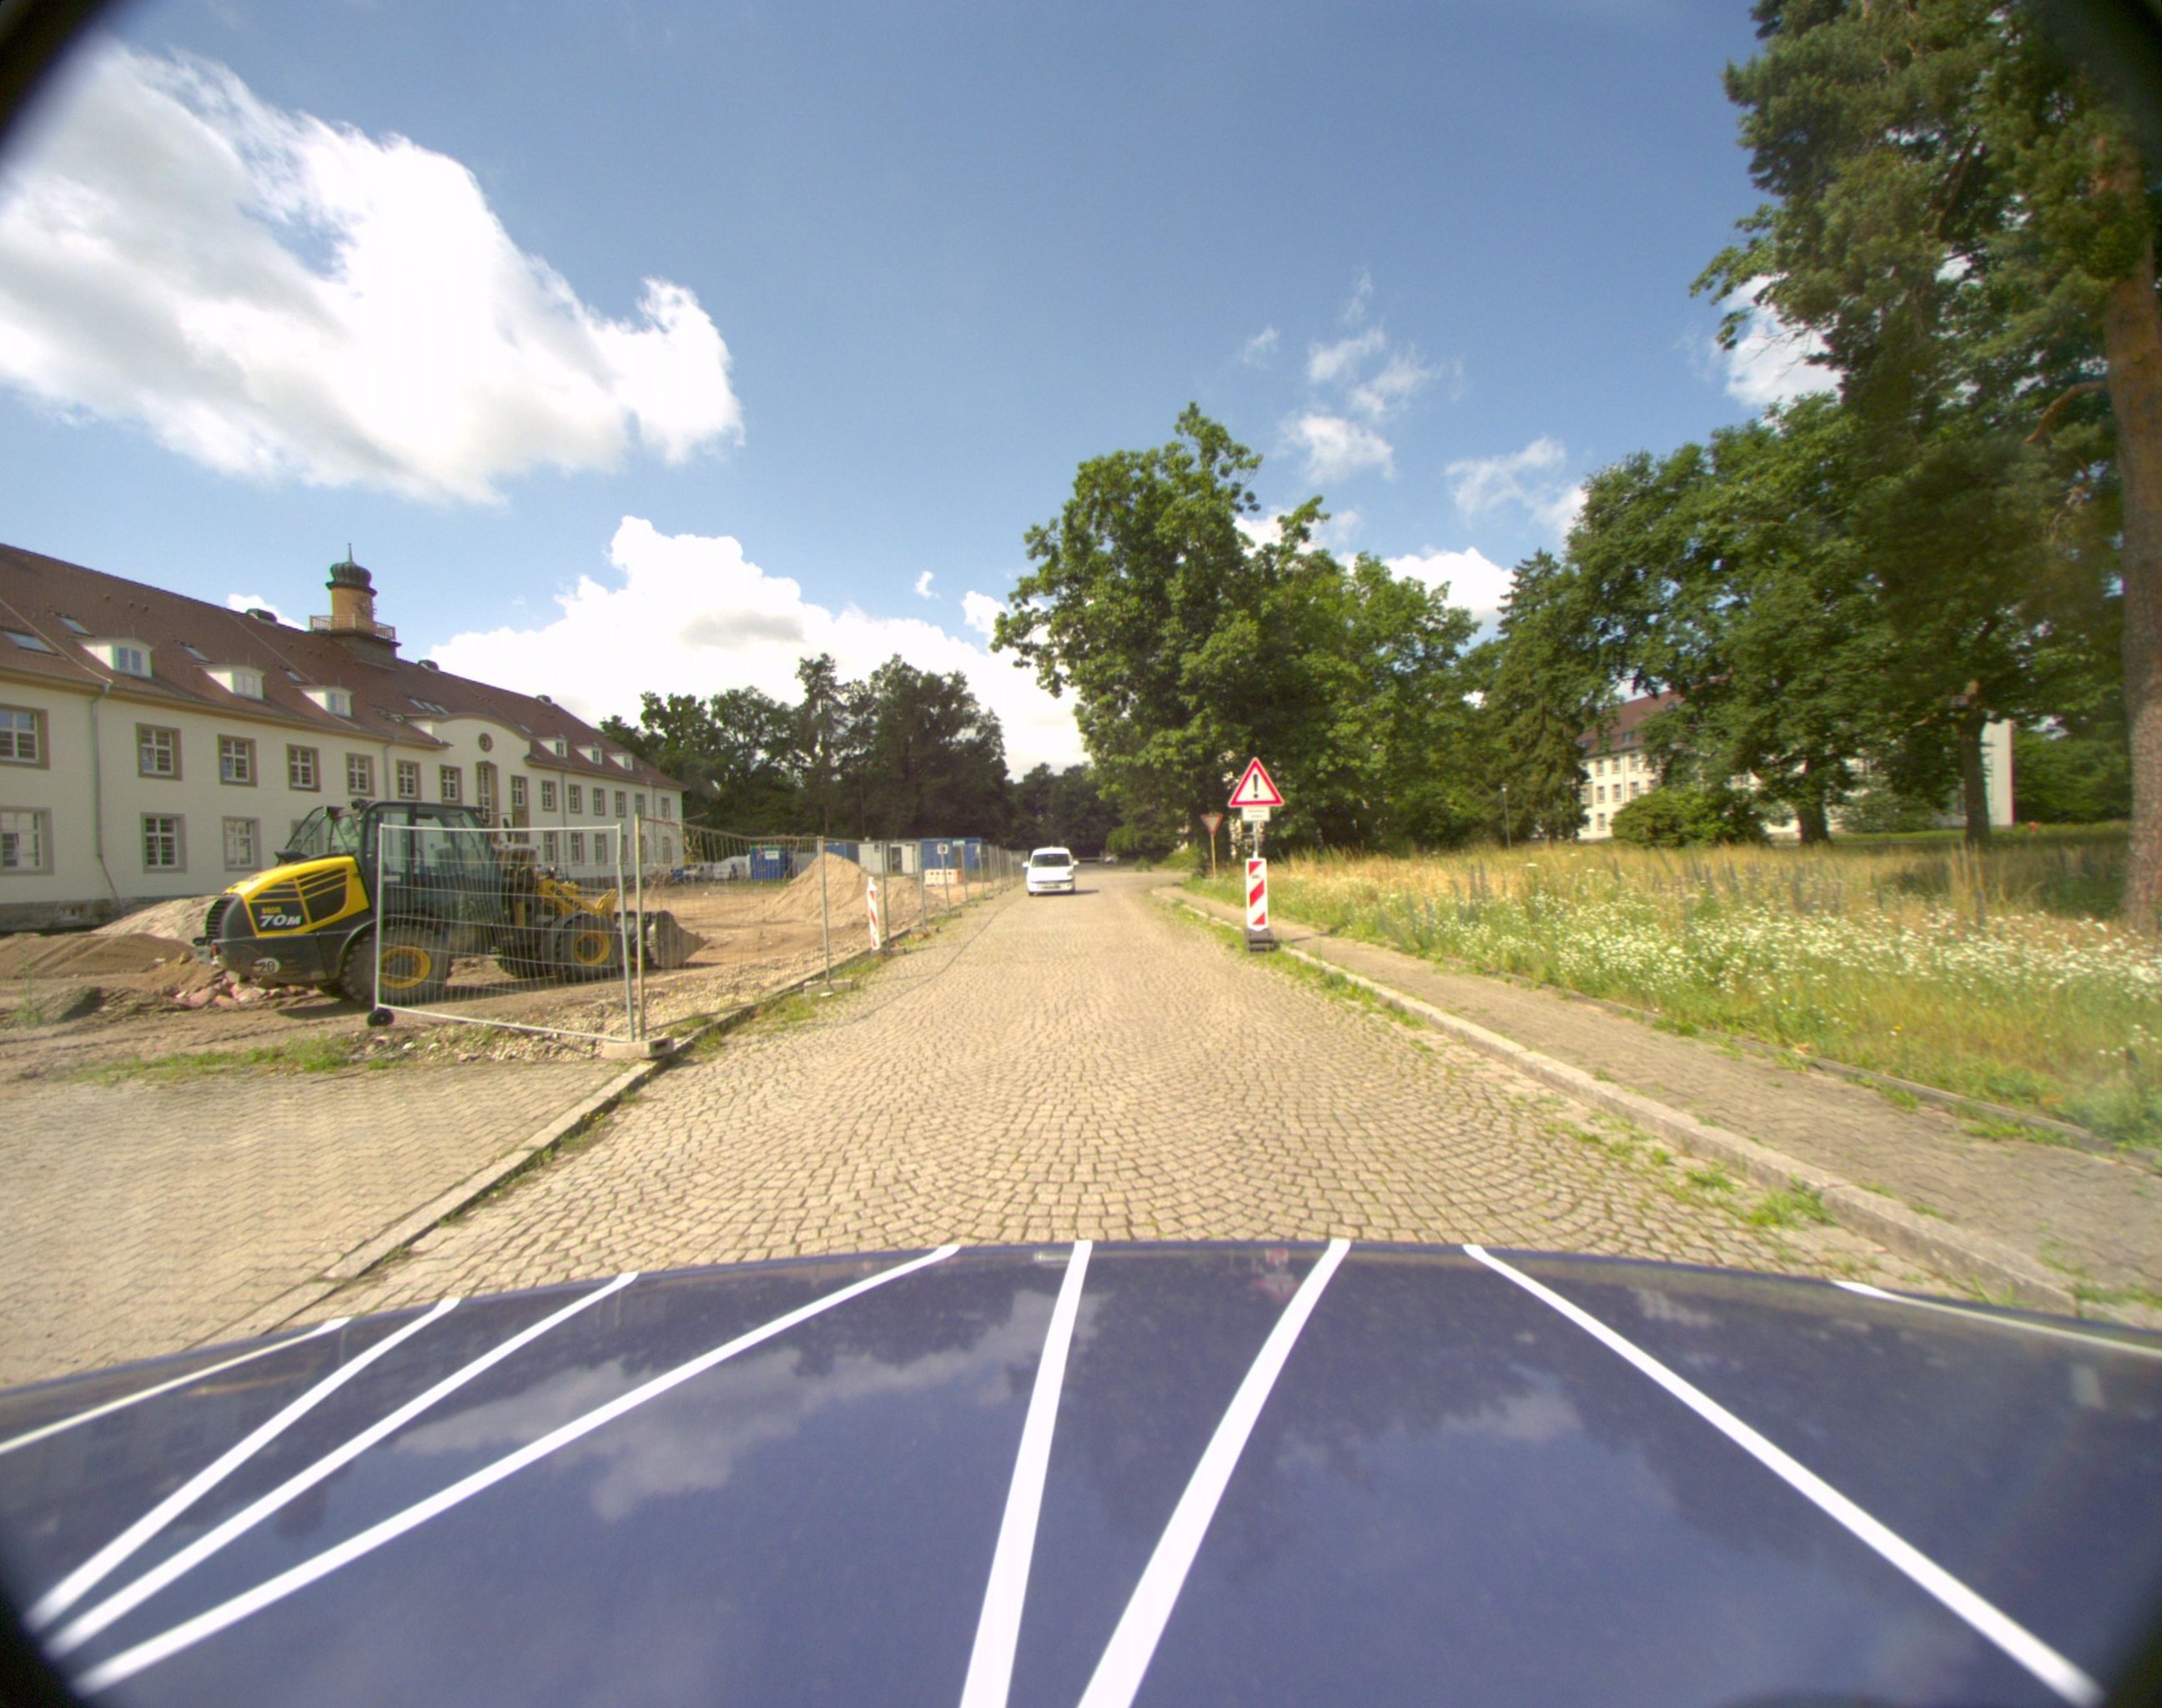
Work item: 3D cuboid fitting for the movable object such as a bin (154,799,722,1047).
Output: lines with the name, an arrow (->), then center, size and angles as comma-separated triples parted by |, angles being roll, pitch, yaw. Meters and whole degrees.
movable object such as a bin -> -8.299, 0.712, 10.699 | 2.144, 2.507, 5.666 | -1, 0, 28

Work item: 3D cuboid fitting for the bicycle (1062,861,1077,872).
bicycle -> -1.047, 1.147, 69.846 | 0.636, 0.990, 1.554 | -3, 1, -33

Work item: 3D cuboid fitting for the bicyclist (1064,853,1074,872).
bicyclist -> -1.065, 0.766, 69.846 | 0.636, 1.760, 0.570 | -3, 1, -33

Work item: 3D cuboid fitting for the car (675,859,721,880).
car -> -36.190, 1.436, 71.857 | 1.884, 1.718, 4.707 | -2, 1, 0

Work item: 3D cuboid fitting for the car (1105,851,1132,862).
car -> 5.955, 0.424, 120.510 | 4.084, 1.634, 1.767 | -2, 1, -1

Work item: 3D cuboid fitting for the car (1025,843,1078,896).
car -> -1.217, 0.585, 30.078 | 1.839, 1.857, 4.829 | -2, -1, -3

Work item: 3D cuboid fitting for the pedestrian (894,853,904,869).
pedestrian -> -14.651, 0.549, 61.107 | 0.602, 1.235, 0.682 | -3, 1, -2

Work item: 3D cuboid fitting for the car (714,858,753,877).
car -> -32.891, 1.271, 72.073 | 1.802, 1.674, 4.039 | -2, 1, 0
